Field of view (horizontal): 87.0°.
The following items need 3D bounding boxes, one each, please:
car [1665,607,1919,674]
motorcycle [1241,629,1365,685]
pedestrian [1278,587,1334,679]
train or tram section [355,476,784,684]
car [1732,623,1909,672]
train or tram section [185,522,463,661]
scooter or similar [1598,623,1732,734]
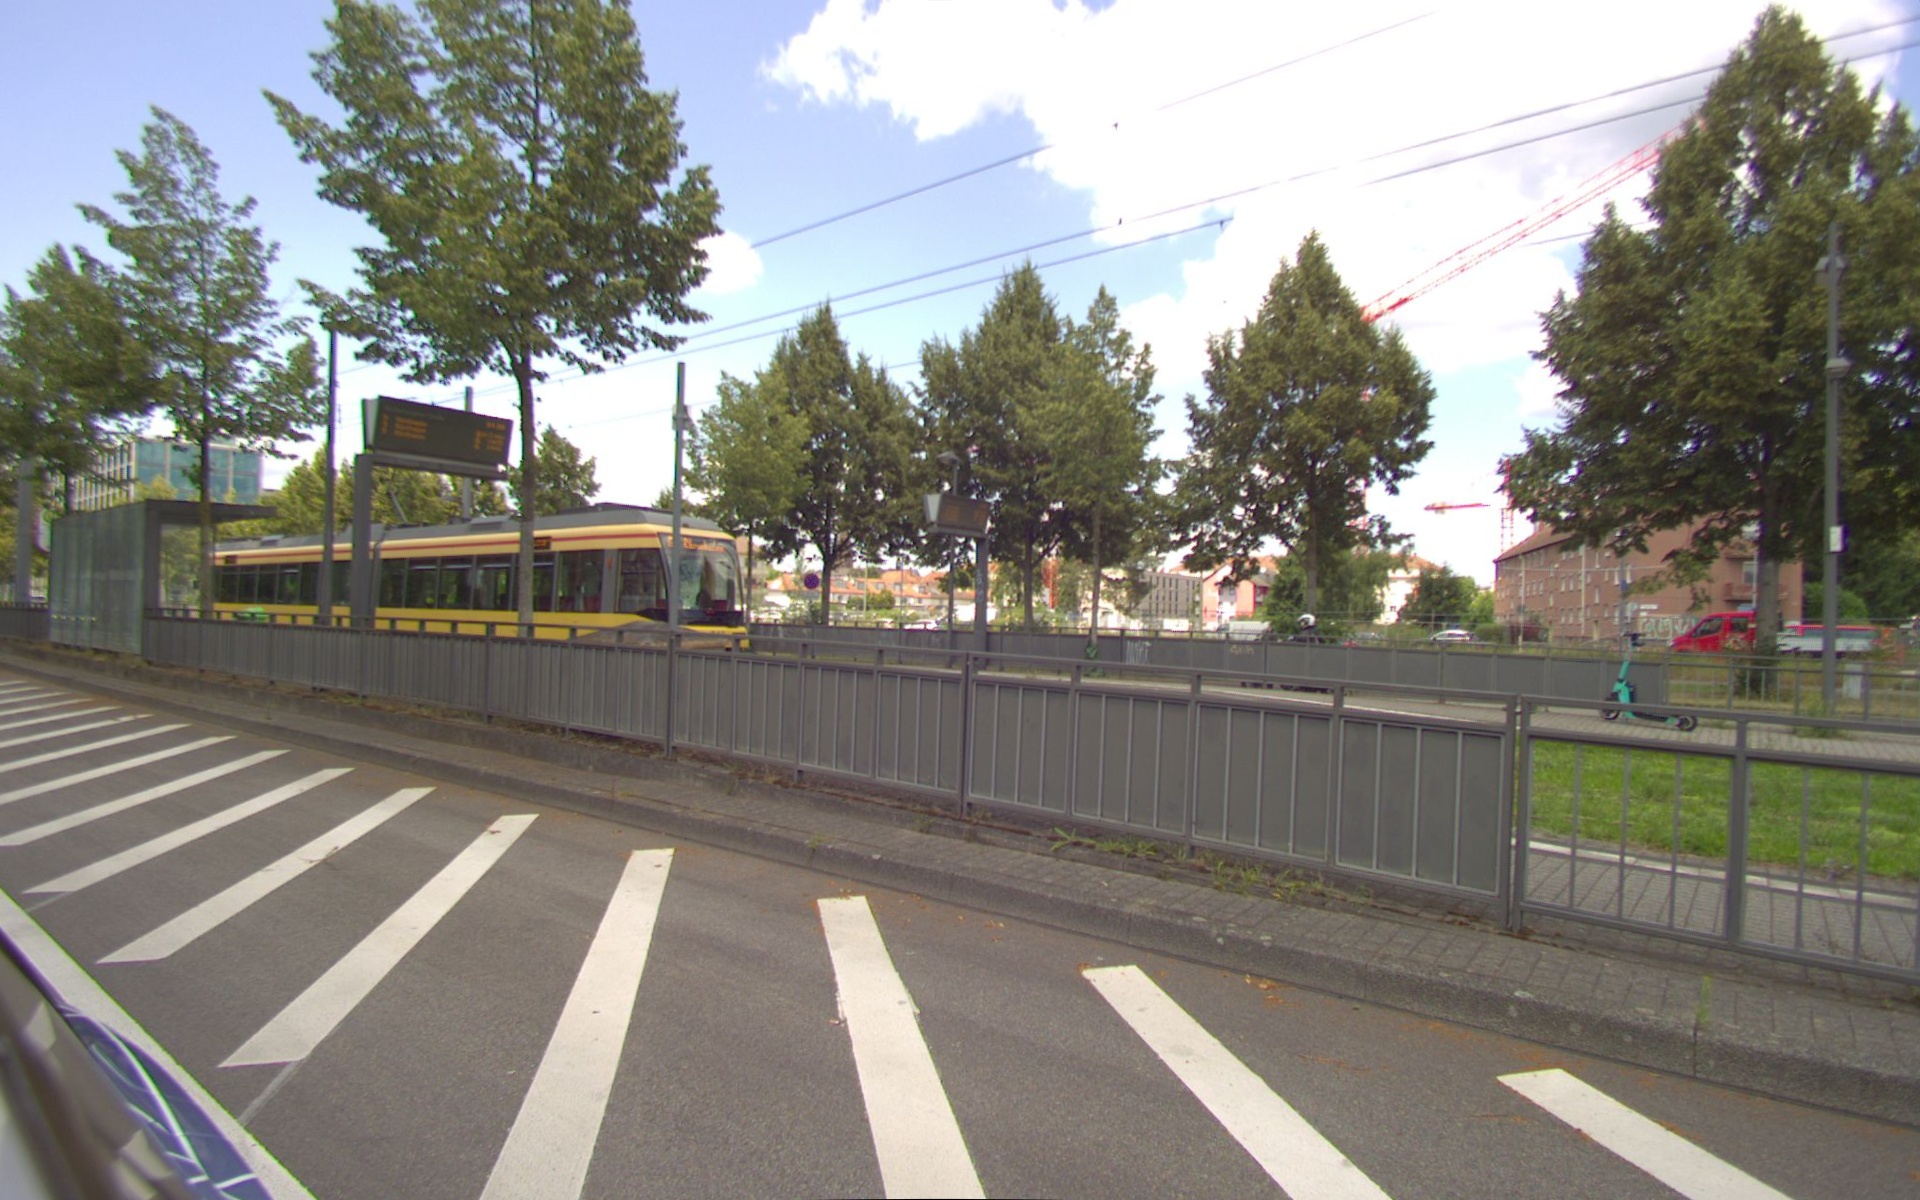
[{"bbox_3d":[30.300,1.433,37.190,2.353,2.214,6.860,1,-2,-28],"label":"car"},{"bbox_3d":[6.502,1.061,19.268,2.193,1.001,0.564,-1,-2,40],"label":"motorcycle"},{"bbox_3d":[6.565,0.619,19.203,0.773,1.685,0.815,-1,-2,40],"label":"pedestrian"},{"bbox_3d":[-9.758,-0.293,23.630,13.458,3.768,2.815,0,-2,38],"label":"train or tram section"},{"bbox_3d":[35.554,1.929,41.978,2.052,1.866,5.199,2,-2,-33],"label":"car"},{"bbox_3d":[-20.717,-0.163,32.229,14.644,3.666,2.661,0,-2,38],"label":"train or tram section"},{"bbox_3d":[9.233,0.995,13.300,0.412,1.312,1.350,1,1,-31],"label":"scooter or similar"}]
